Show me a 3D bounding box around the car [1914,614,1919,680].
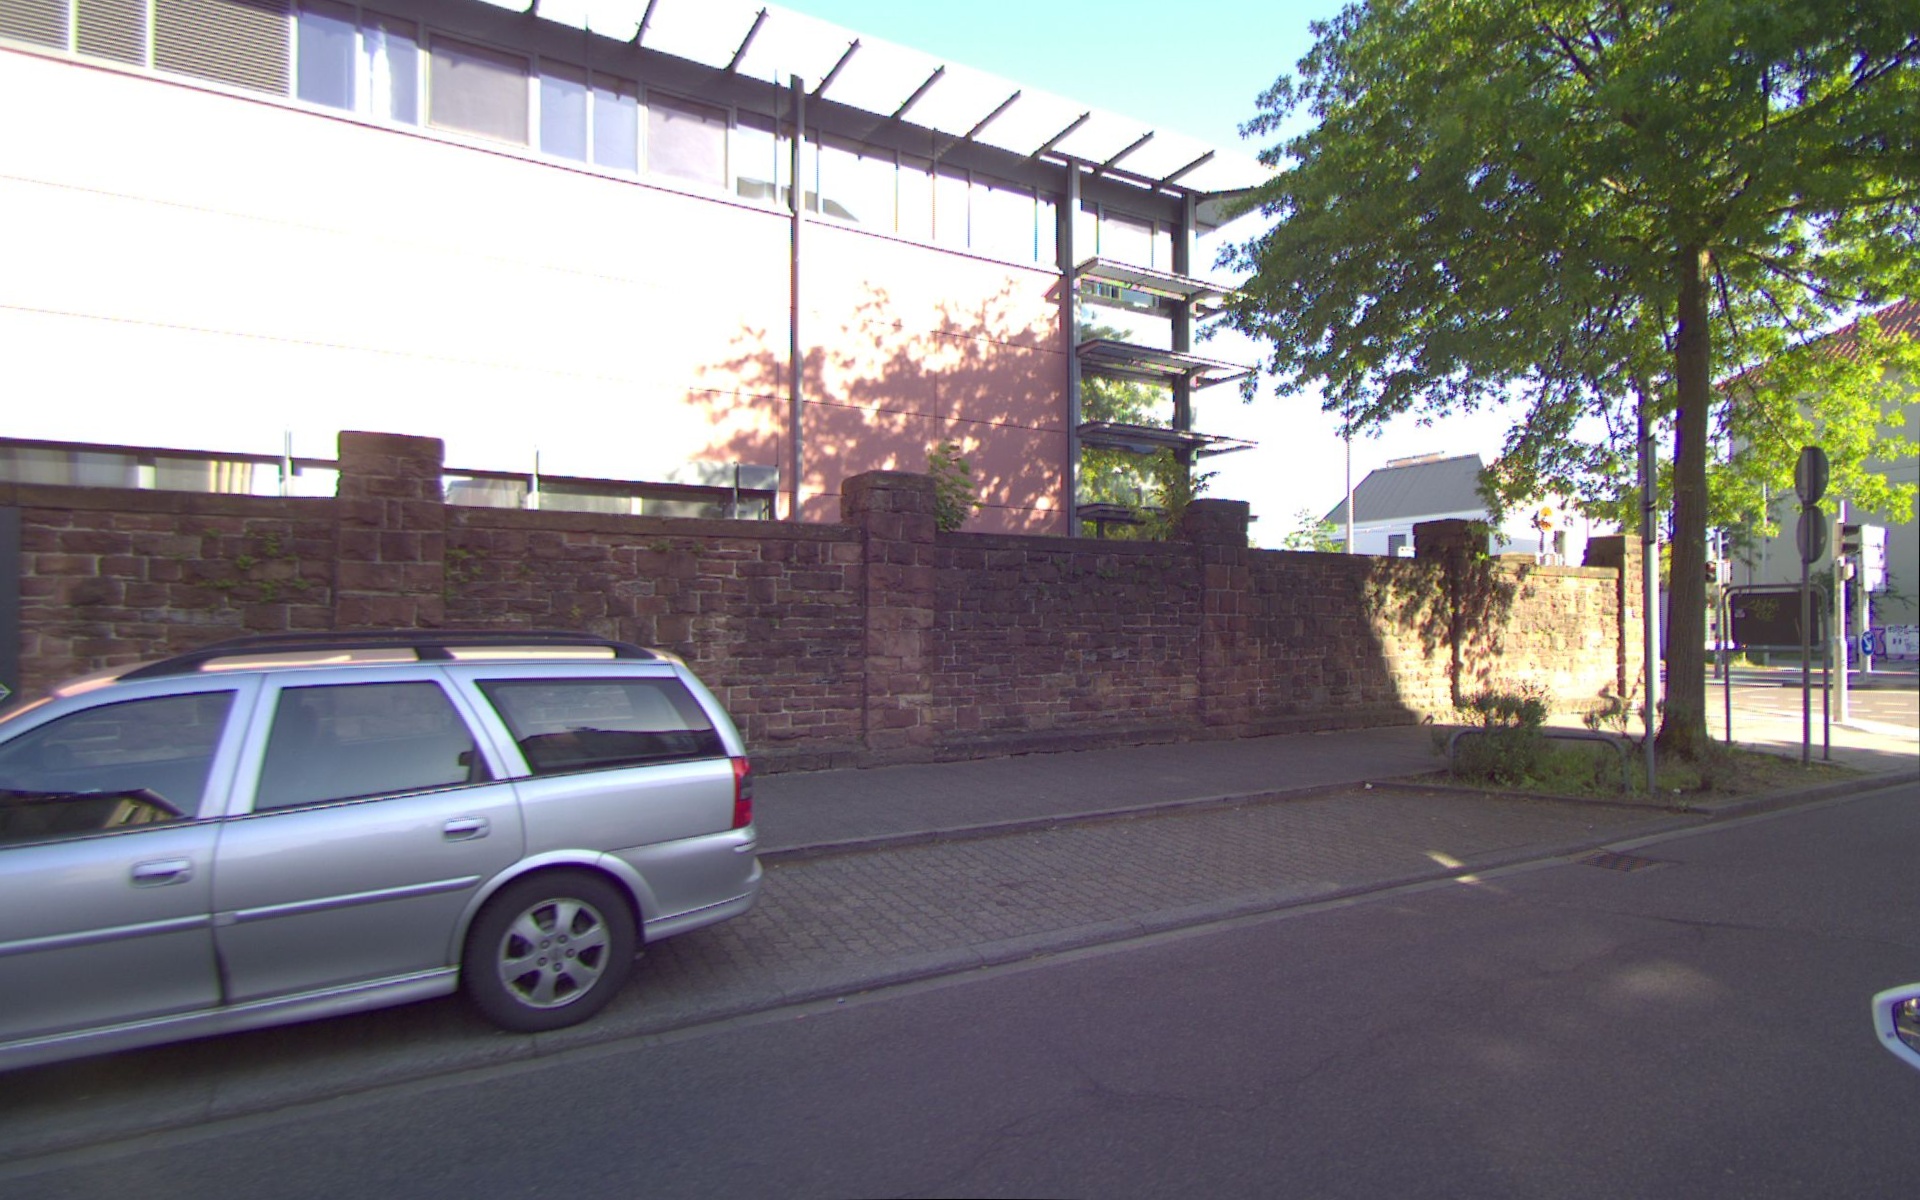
[{"bbox_3d":[27.794,1.244,25.716,1.981,1.762,4.630,1,-1,-36],"label":"car"}]

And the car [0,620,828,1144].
[{"bbox_3d":[-2.902,0.852,3.904,4.425,1.495,1.718,1,0,-30],"label":"car"}]
